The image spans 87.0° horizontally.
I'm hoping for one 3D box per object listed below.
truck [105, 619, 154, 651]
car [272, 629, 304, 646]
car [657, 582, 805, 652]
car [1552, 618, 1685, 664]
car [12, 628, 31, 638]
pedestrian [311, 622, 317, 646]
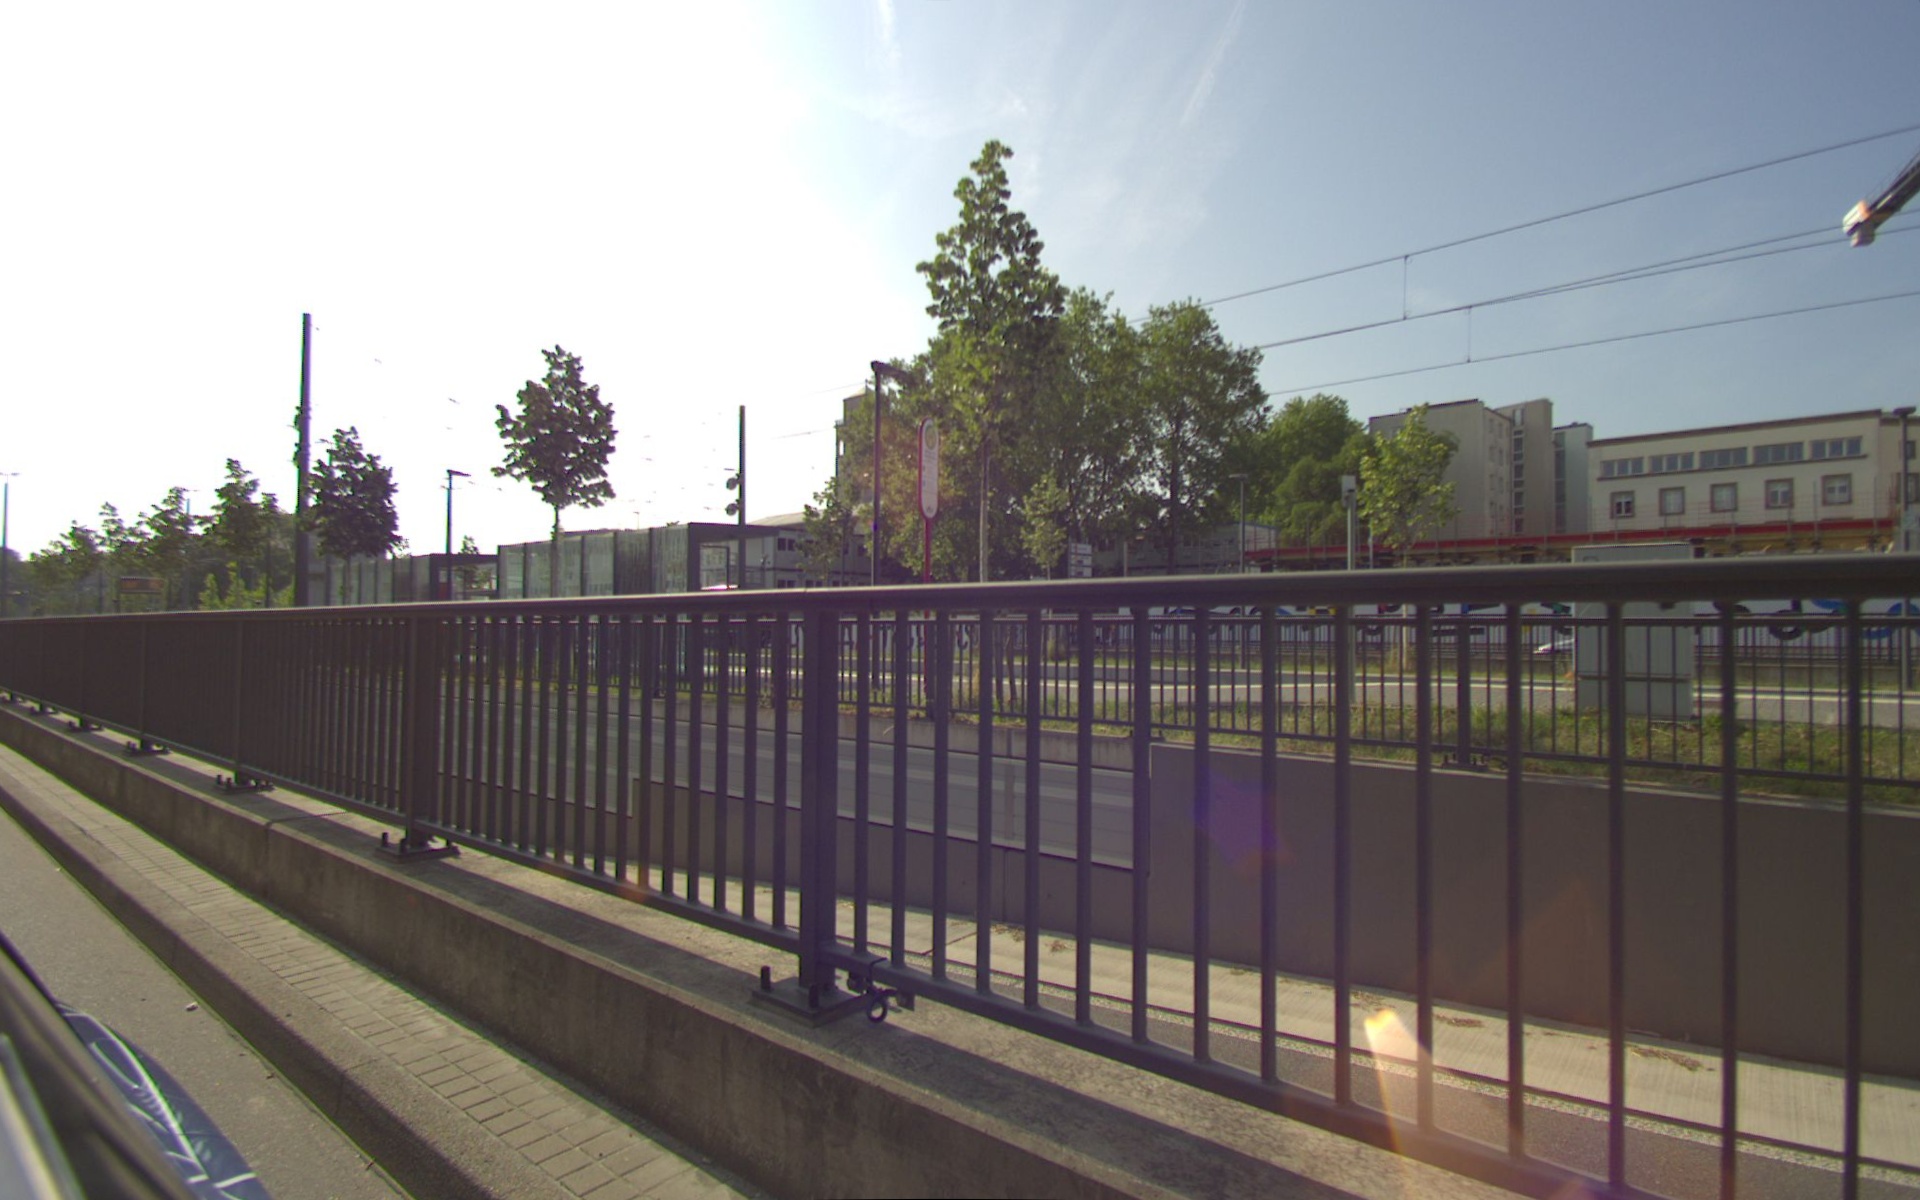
[{"bbox_3d":[-98.405,4.142,119.814,8.885,3.614,2.990,-2,-3,41],"label":"truck"},{"bbox_3d":[-60.065,3.362,90.443,3.433,1.474,1.579,-2,-2,42],"label":"car"},{"bbox_3d":[-12.656,0.974,55.288,9.228,3.539,3.022,-2,-2,41],"label":"car"},{"bbox_3d":[18.560,1.144,28.560,2.959,1.211,1.485,-2,-2,41],"label":"car"},{"bbox_3d":[-157.704,5.608,170.047,3.992,1.613,1.625,-2,-2,37],"label":"car"},{"bbox_3d":[-45.641,2.412,71.538,0.365,1.689,0.642,0,-2,-32],"label":"pedestrian"}]
